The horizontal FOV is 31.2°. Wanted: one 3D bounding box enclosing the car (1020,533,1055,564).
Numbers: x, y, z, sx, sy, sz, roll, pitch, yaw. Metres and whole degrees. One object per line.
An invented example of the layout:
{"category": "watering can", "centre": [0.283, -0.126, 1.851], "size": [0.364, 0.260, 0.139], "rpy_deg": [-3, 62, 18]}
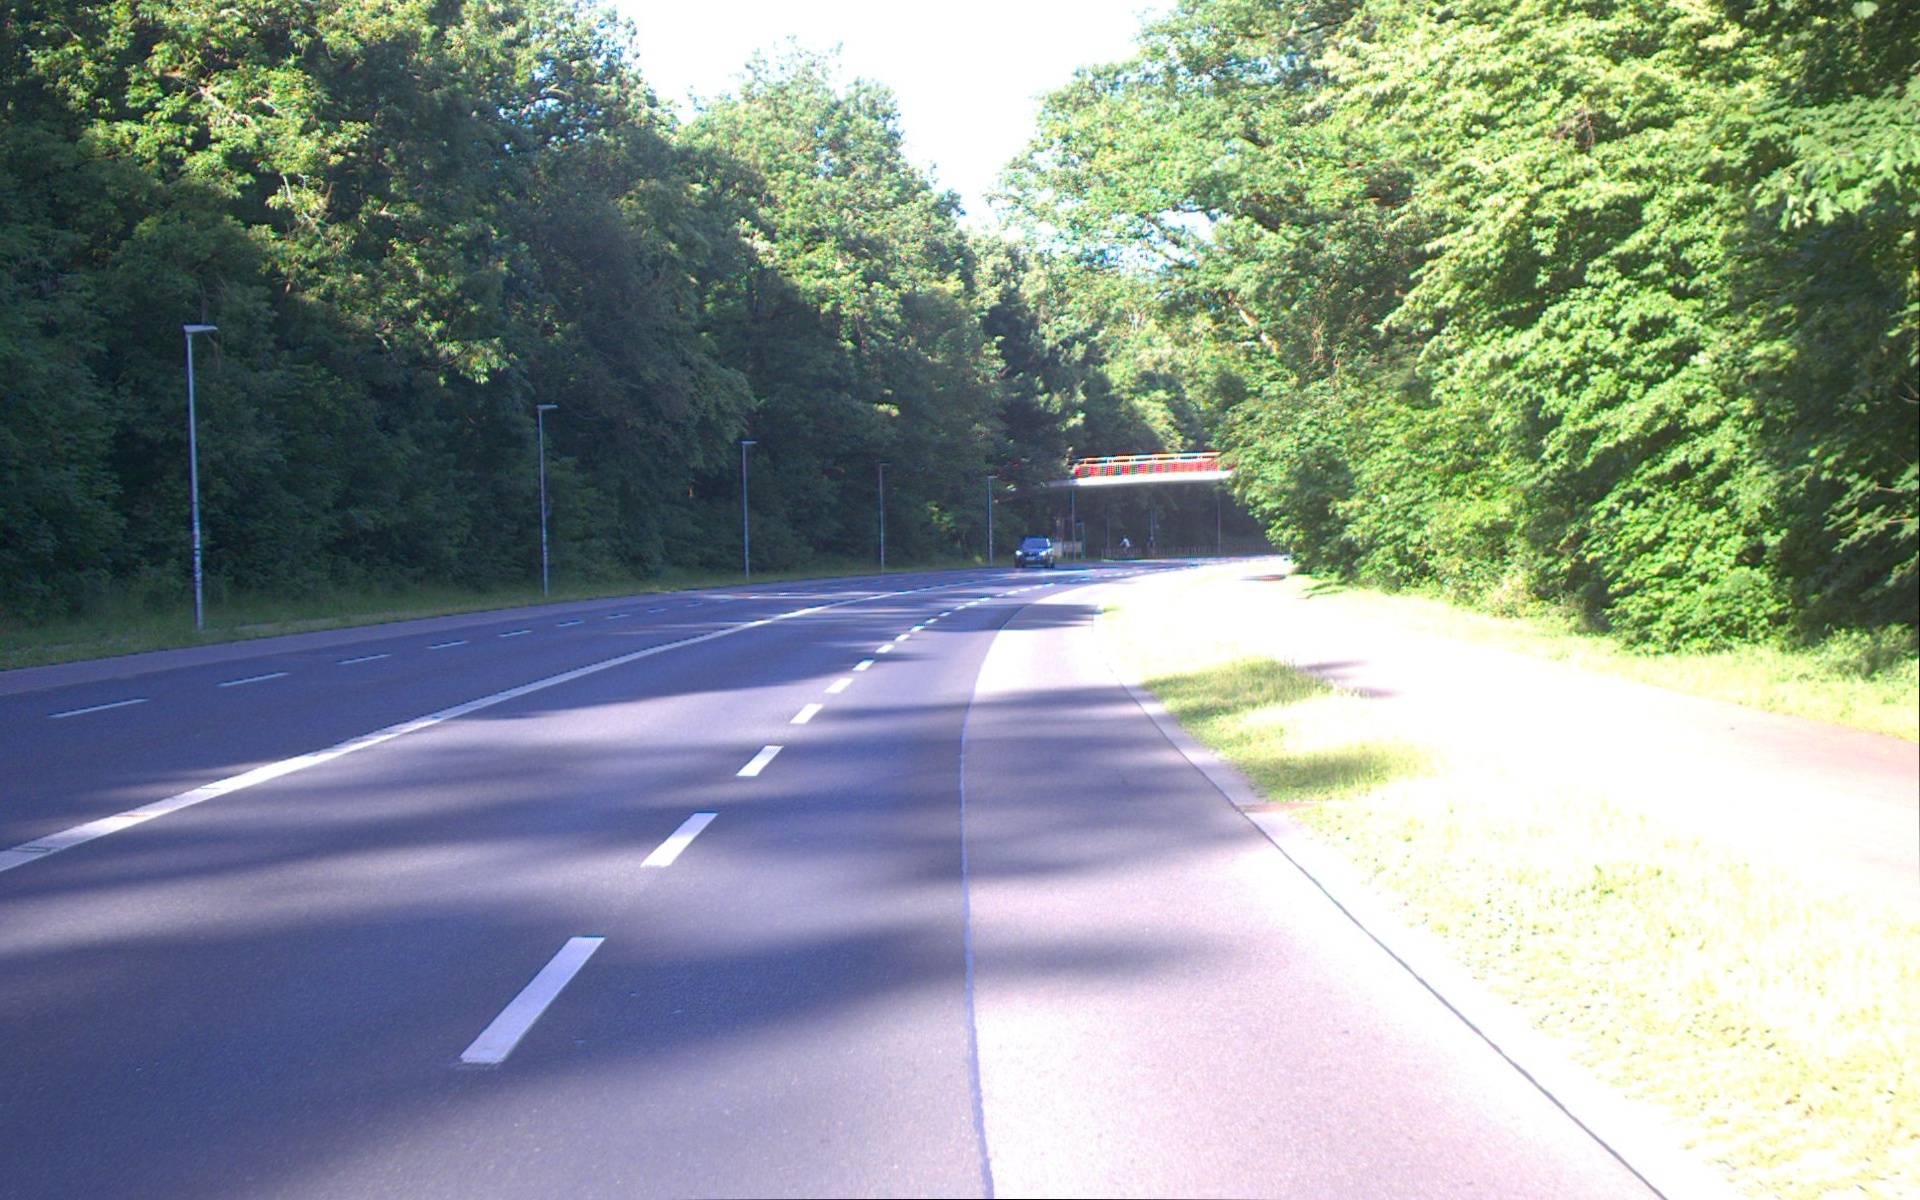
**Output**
{"category": "car", "centre": [4.206, -2.770, 185.884], "size": [1.807, 1.657, 4.521], "rpy_deg": [0, 1, 3]}
